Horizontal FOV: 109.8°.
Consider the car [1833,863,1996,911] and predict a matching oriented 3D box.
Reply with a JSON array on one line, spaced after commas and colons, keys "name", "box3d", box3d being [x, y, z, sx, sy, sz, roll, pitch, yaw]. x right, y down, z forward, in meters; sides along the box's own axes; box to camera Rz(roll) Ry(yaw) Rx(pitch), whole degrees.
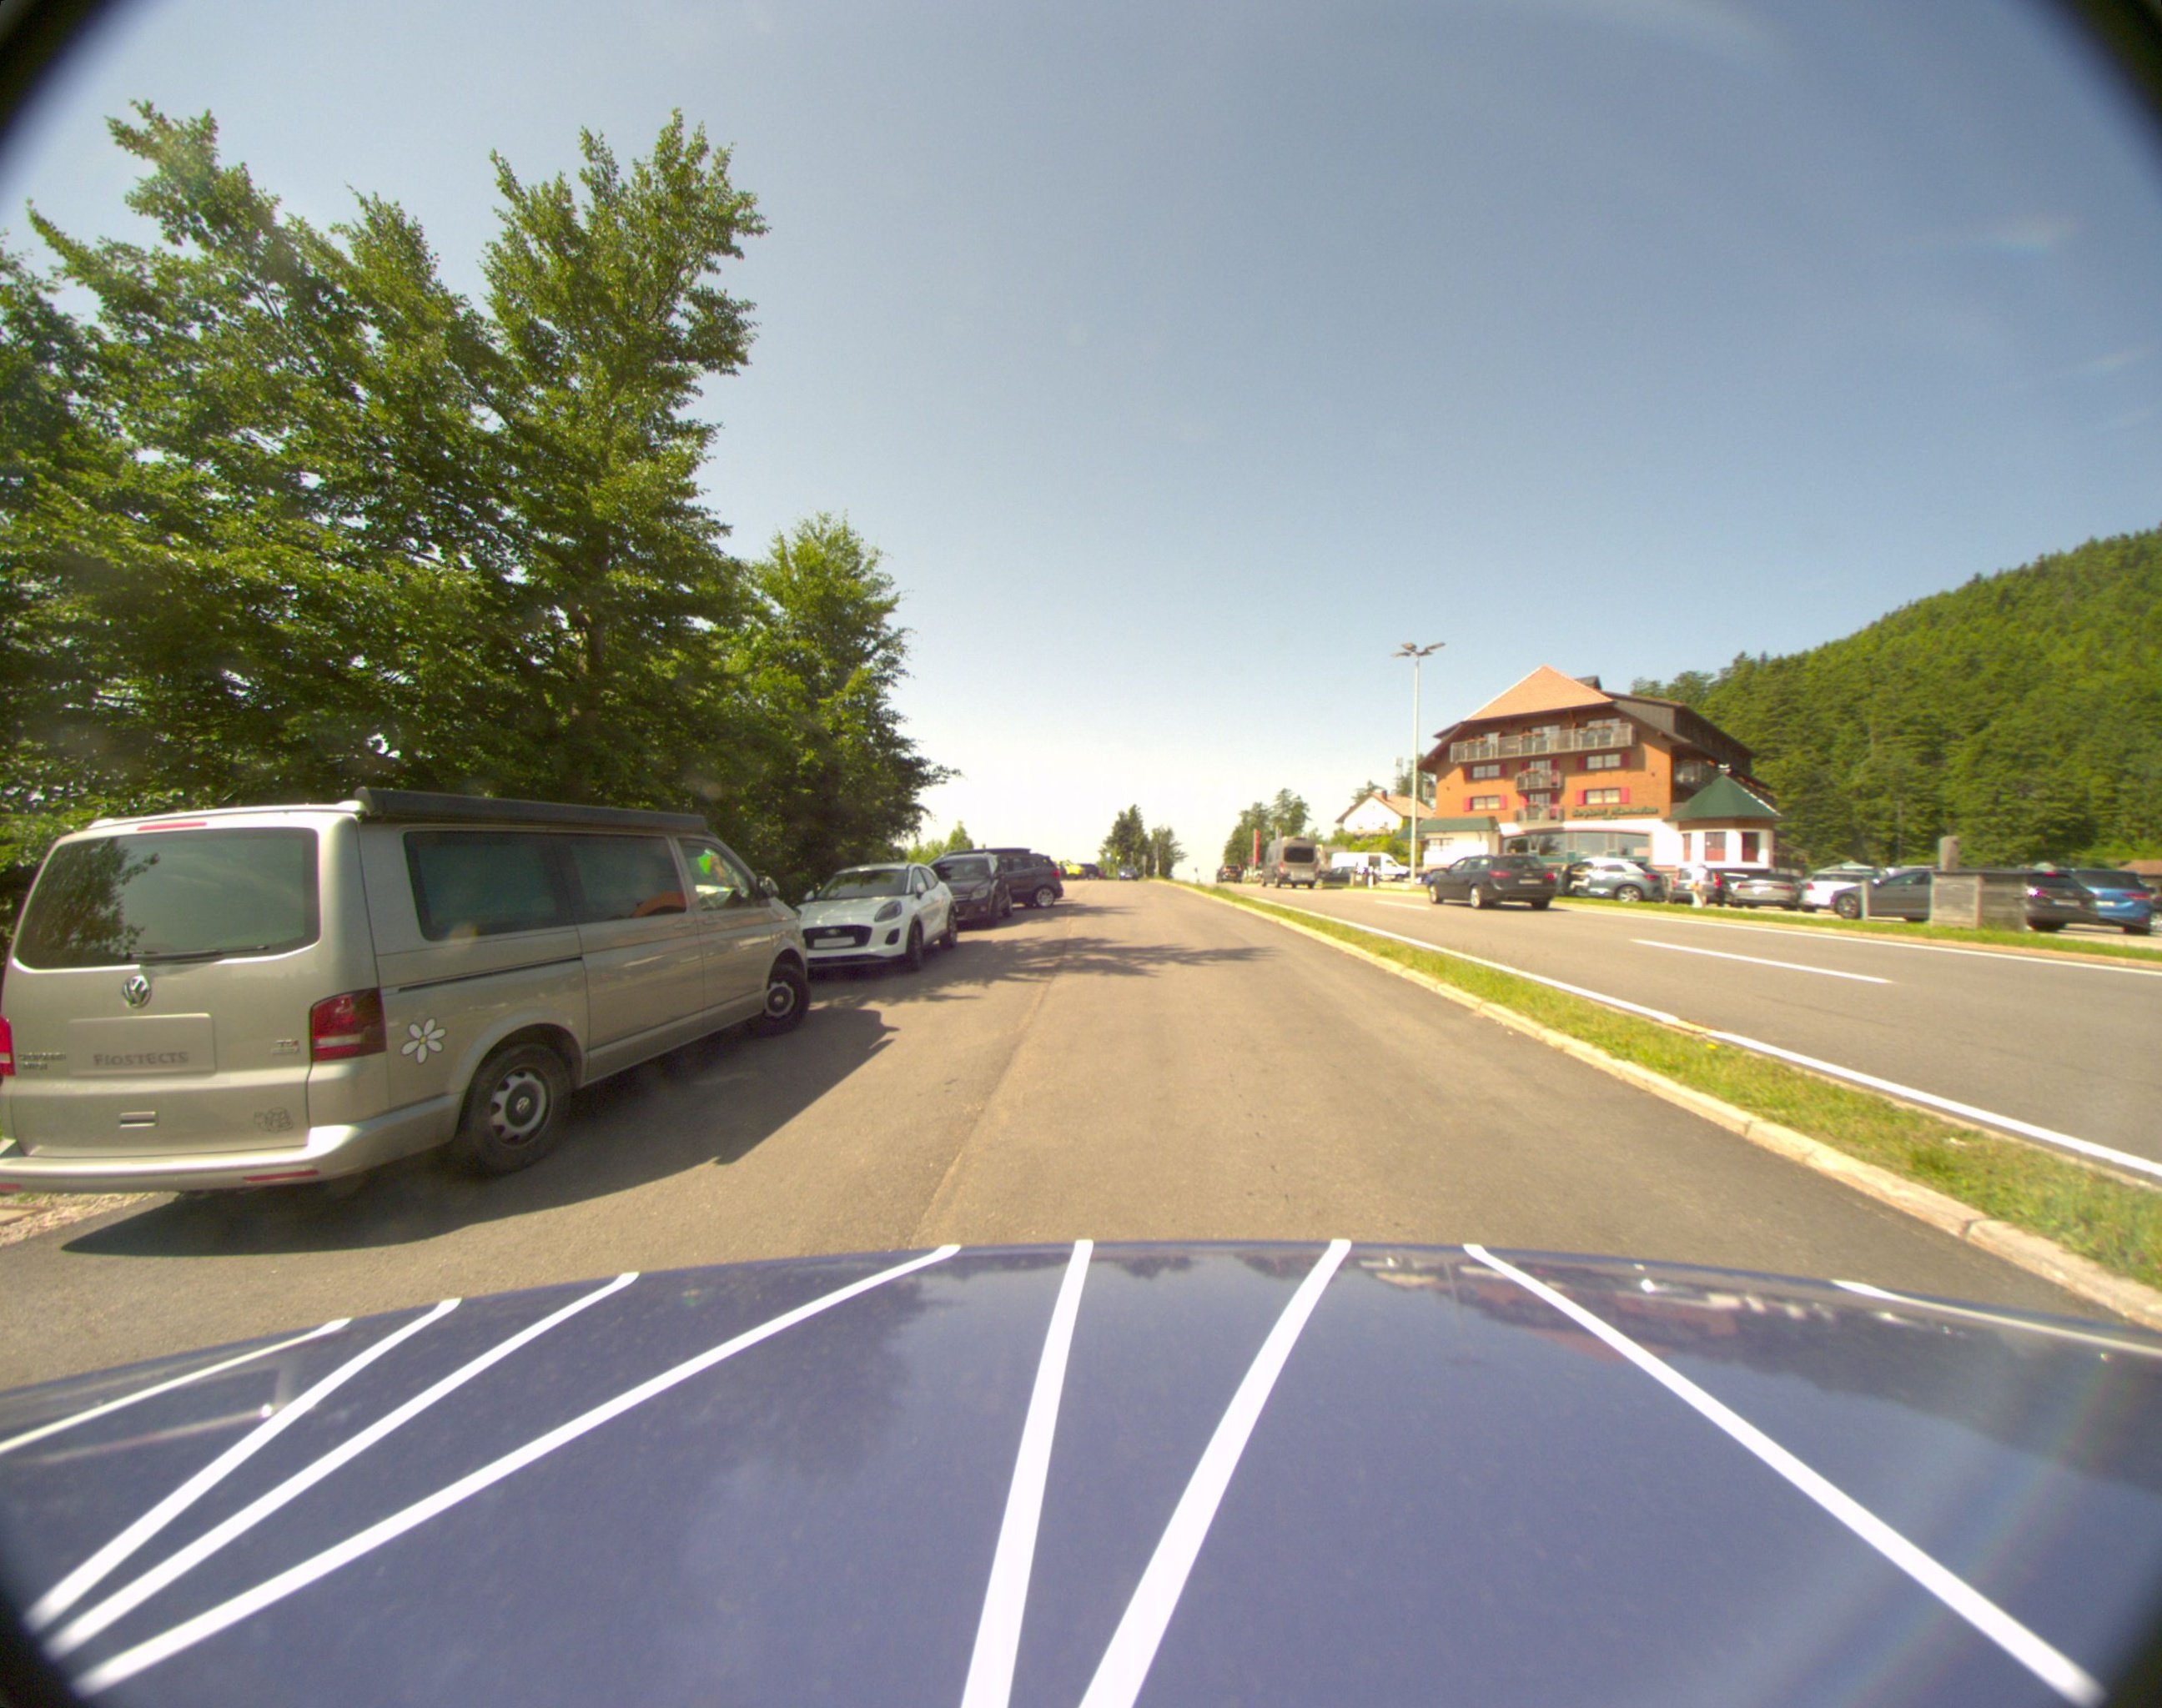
[{"name": "car", "box3d": [31.849, 1.208, 29.227, 1.828, 1.619, 4.082, 1, 0, -45]}]

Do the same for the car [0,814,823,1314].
[{"name": "car", "box3d": [-3.749, 0.863, 5.299, 1.861, 1.924, 4.611, -3, 0, 6]}]

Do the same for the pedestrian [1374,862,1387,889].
[{"name": "pedestrian", "box3d": [20.902, 1.525, 52.975, 0.673, 1.853, 0.752, 1, 1, 10]}]

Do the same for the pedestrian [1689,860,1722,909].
[{"name": "pedestrian", "box3d": [21.018, 1.015, 25.586, 0.744, 1.615, 0.684, 1, 1, 32]}]

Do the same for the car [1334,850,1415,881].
[{"name": "car", "box3d": [27.486, 1.014, 71.318, 6.949, 2.774, 2.671, 1, 0, 21]}]

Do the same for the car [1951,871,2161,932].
[{"name": "car", "box3d": [29.947, 1.392, 23.360, 1.828, 1.619, 4.082, 1, 0, -45]}]

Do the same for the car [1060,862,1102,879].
[{"name": "car", "box3d": [-0.002, 1.596, 74.578, 3.908, 1.605, 1.877, 1, 0, 5]}]

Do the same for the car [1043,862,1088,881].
[{"name": "car", "box3d": [-1.394, 1.559, 69.188, 3.908, 1.605, 1.877, 1, 0, 5]}]

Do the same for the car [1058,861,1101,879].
[{"name": "car", "box3d": [-0.110, 1.490, 71.969, 3.908, 1.605, 1.877, 1, 0, 5]}]

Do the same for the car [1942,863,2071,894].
[{"name": "car", "box3d": [56.645, 1.452, 46.670, 1.925, 1.705, 4.831, 1, 0, -43]}]

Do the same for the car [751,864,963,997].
[{"name": "car", "box3d": [-3.134, 0.992, 11.592, 1.875, 1.538, 4.000, -3, 0, 2]}]

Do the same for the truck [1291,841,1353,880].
[{"name": "truck", "box3d": [25.079, 0.700, 78.698, 2.876, 3.798, 9.037, -2, -1, 40]}]

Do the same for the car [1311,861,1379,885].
[{"name": "car", "box3d": [18.337, 1.318, 52.842, 4.082, 1.518, 1.828, 1, 0, 41]}]

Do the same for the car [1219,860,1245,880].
[{"name": "car", "box3d": [13.509, 1.420, 68.191, 1.720, 1.672, 4.131, 0, 0, 3]}]

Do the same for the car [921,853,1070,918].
[{"name": "car", "box3d": [-2.540, 0.873, 22.296, 4.002, 1.609, 1.874, -3, 0, -17]}]

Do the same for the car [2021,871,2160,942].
[{"name": "car", "box3d": [26.507, 1.303, 20.101, 4.104, 1.619, 1.818, 1, 0, -42]}]

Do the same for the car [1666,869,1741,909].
[{"name": "car", "box3d": [26.116, 1.429, 31.819, 4.104, 1.504, 1.818, 1, 0, -42]}]

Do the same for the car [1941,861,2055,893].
[{"name": "car", "box3d": [53.272, 1.301, 44.291, 1.925, 1.705, 4.082, 1, 0, -44]}]

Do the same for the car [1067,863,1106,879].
[{"name": "car", "box3d": [0.622, 1.721, 78.606, 3.908, 1.605, 1.877, 1, 0, 5]}]

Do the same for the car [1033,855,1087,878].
[{"name": "car", "box3d": [-1.785, 1.067, 65.982, 4.455, 1.914, 1.877, 1, 0, 5]}]

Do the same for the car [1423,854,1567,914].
[{"name": "car", "box3d": [10.915, 0.723, 20.431, 1.710, 1.429, 4.451, 1, 0, 4]}]

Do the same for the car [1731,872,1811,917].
[{"name": "car", "box3d": [26.402, 1.488, 29.024, 4.104, 1.504, 1.818, 1, 0, -42]}]

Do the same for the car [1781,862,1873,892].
[{"name": "car", "box3d": [47.785, 1.430, 48.714, 1.925, 1.705, 4.082, 1, 0, -44]}]

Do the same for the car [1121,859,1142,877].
[{"name": "car", "box3d": [4.595, 1.273, 69.733, 1.874, 1.605, 3.914, 1, 0, 2]}]

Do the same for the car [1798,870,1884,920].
[{"name": "car", "box3d": [25.701, 1.325, 25.646, 4.104, 1.504, 1.818, 1, 0, -42]}]

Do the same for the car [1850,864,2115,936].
[{"name": "car", "box3d": [21.262, 1.008, 18.218, 1.720, 1.422, 4.001, 1, 0, 4]}]

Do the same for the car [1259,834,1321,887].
[{"name": "car", "box3d": [11.508, 0.331, 42.300, 2.016, 2.735, 5.918, 1, 0, 3]}]

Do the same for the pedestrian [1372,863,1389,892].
[{"name": "pedestrian", "box3d": [20.873, 1.614, 52.919, 0.718, 2.002, 0.801, 0, 0, -23]}]

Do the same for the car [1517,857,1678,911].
[{"name": "car", "box3d": [17.574, 0.961, 25.995, 1.828, 1.619, 4.258, 1, 0, -45]}]

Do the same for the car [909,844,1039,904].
[{"name": "car", "box3d": [-4.012, 0.710, 28.247, 4.463, 1.914, 1.874, -3, 0, -17]}]

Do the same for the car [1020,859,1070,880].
[{"name": "car", "box3d": [-2.977, 1.290, 63.318, 3.908, 1.605, 1.877, 1, 0, 5]}]

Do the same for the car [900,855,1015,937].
[{"name": "car", "box3d": [-2.744, 0.877, 17.828, 1.875, 1.609, 4.000, -3, 0, 2]}]
